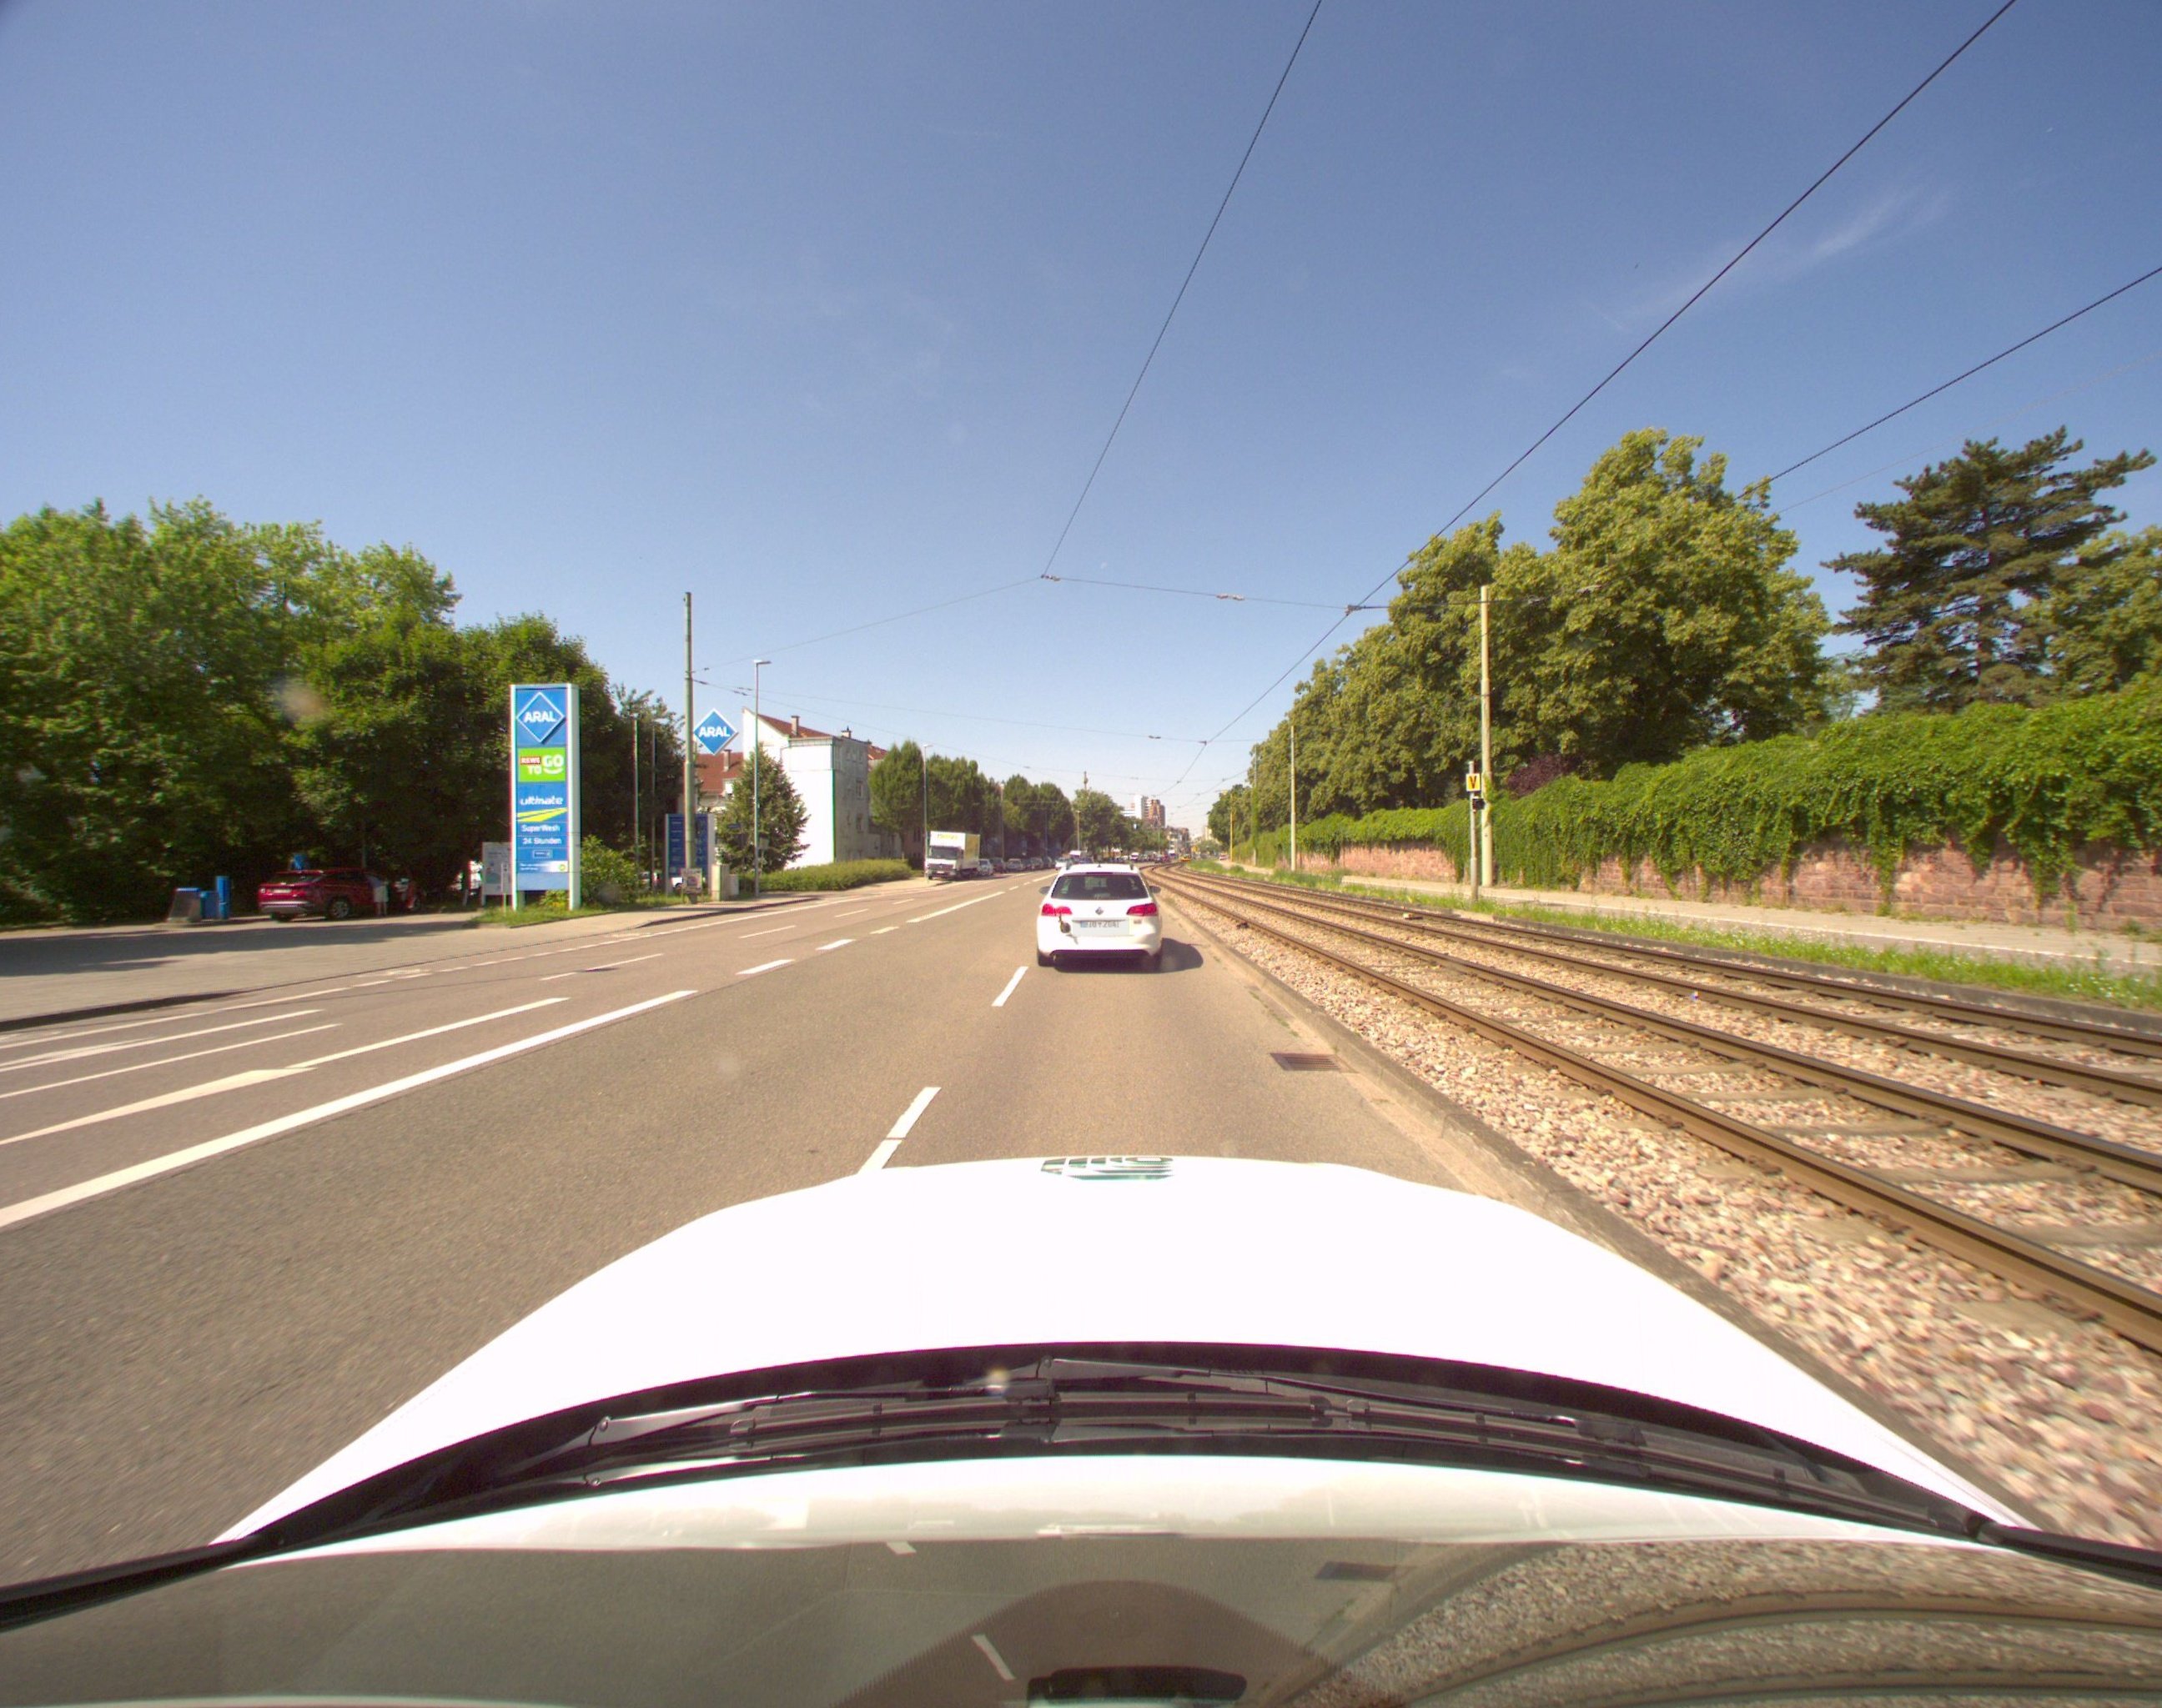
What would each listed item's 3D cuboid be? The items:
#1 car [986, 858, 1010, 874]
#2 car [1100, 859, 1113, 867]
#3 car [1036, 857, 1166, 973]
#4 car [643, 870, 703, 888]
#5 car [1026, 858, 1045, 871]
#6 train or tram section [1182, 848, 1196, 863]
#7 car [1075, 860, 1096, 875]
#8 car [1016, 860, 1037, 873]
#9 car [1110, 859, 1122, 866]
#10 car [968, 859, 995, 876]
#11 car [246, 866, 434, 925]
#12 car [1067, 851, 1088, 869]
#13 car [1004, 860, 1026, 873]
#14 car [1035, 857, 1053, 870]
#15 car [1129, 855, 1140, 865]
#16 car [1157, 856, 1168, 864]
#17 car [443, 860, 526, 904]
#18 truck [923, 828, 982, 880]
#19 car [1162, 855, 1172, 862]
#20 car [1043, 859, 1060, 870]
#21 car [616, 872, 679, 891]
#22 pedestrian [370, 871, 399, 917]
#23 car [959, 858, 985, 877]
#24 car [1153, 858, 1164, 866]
[{"bbox_3d":[-8.290,1.133,81.285,1.723,1.552,4.322,0,0,3],"label":"car"},{"bbox_3d":[5.117,1.810,164.307,1.687,1.417,4.015,-1,-1,14],"label":"car"},{"bbox_3d":[0.277,0.809,12.815,1.685,1.451,4.459,0,0,0],"label":"car"},{"bbox_3d":[-29.092,1.790,58.087,3.625,1.205,1.580,-1,0,12],"label":"car"},{"bbox_3d":[-5.821,1.332,104.575,1.708,1.625,4.320,1,0,7],"label":"car"},{"bbox_3d":[28.431,0.345,214.497,2.494,3.747,13.356,-1,0,13],"label":"train or tram section"},{"bbox_3d":[0.503,1.394,86.299,1.791,1.507,4.007,0,1,6],"label":"car"},{"bbox_3d":[-6.584,1.469,98.627,1.714,1.474,4.721,1,0,5],"label":"car"},{"bbox_3d":[7.649,1.846,176.990,1.687,1.352,4.015,-1,-1,14],"label":"car"},{"bbox_3d":[-8.893,1.222,73.202,1.750,1.429,4.284,1,0,3],"label":"car"},{"bbox_3d":[-23.819,1.260,26.462,1.793,1.570,4.520,-1,1,2],"label":"car"},{"bbox_3d":[-0.575,1.009,134.443,1.981,2.714,7.179,2,0,12],"label":"car"},{"bbox_3d":[-7.460,1.403,92.198,1.773,1.483,4.861,1,-1,3],"label":"car"},{"bbox_3d":[-4.993,1.310,110.071,1.761,1.723,4.877,1,0,6],"label":"car"},{"bbox_3d":[13.841,1.568,210.788,1.866,2.416,5.135,-1,-1,14],"label":"car"},{"bbox_3d":[16.727,1.252,167.049,1.789,1.460,4.011,0,0,10],"label":"car"},{"bbox_3d":[-35.935,1.660,49.095,4.142,2.538,1.795,-1,0,15],"label":"car"},{"bbox_3d":[-9.502,0.009,61.102,2.656,3.530,8.596,1,0,3],"label":"truck"},{"bbox_3d":[18.343,0.939,174.040,1.789,1.460,4.011,-1,0,10],"label":"car"},{"bbox_3d":[-4.205,1.420,115.509,1.681,1.474,4.057,2,0,8],"label":"car"},{"bbox_3d":[-29.728,1.854,55.853,3.625,1.205,1.580,-1,0,12],"label":"car"},{"bbox_3d":[-23.035,1.313,26.936,0.496,1.481,0.500,-1,0,2],"label":"pedestrian"},{"bbox_3d":[-9.143,1.108,68.473,1.604,1.484,3.636,1,0,1],"label":"car"},{"bbox_3d":[15.345,1.498,160.640,1.789,1.507,4.011,0,0,10],"label":"car"}]
